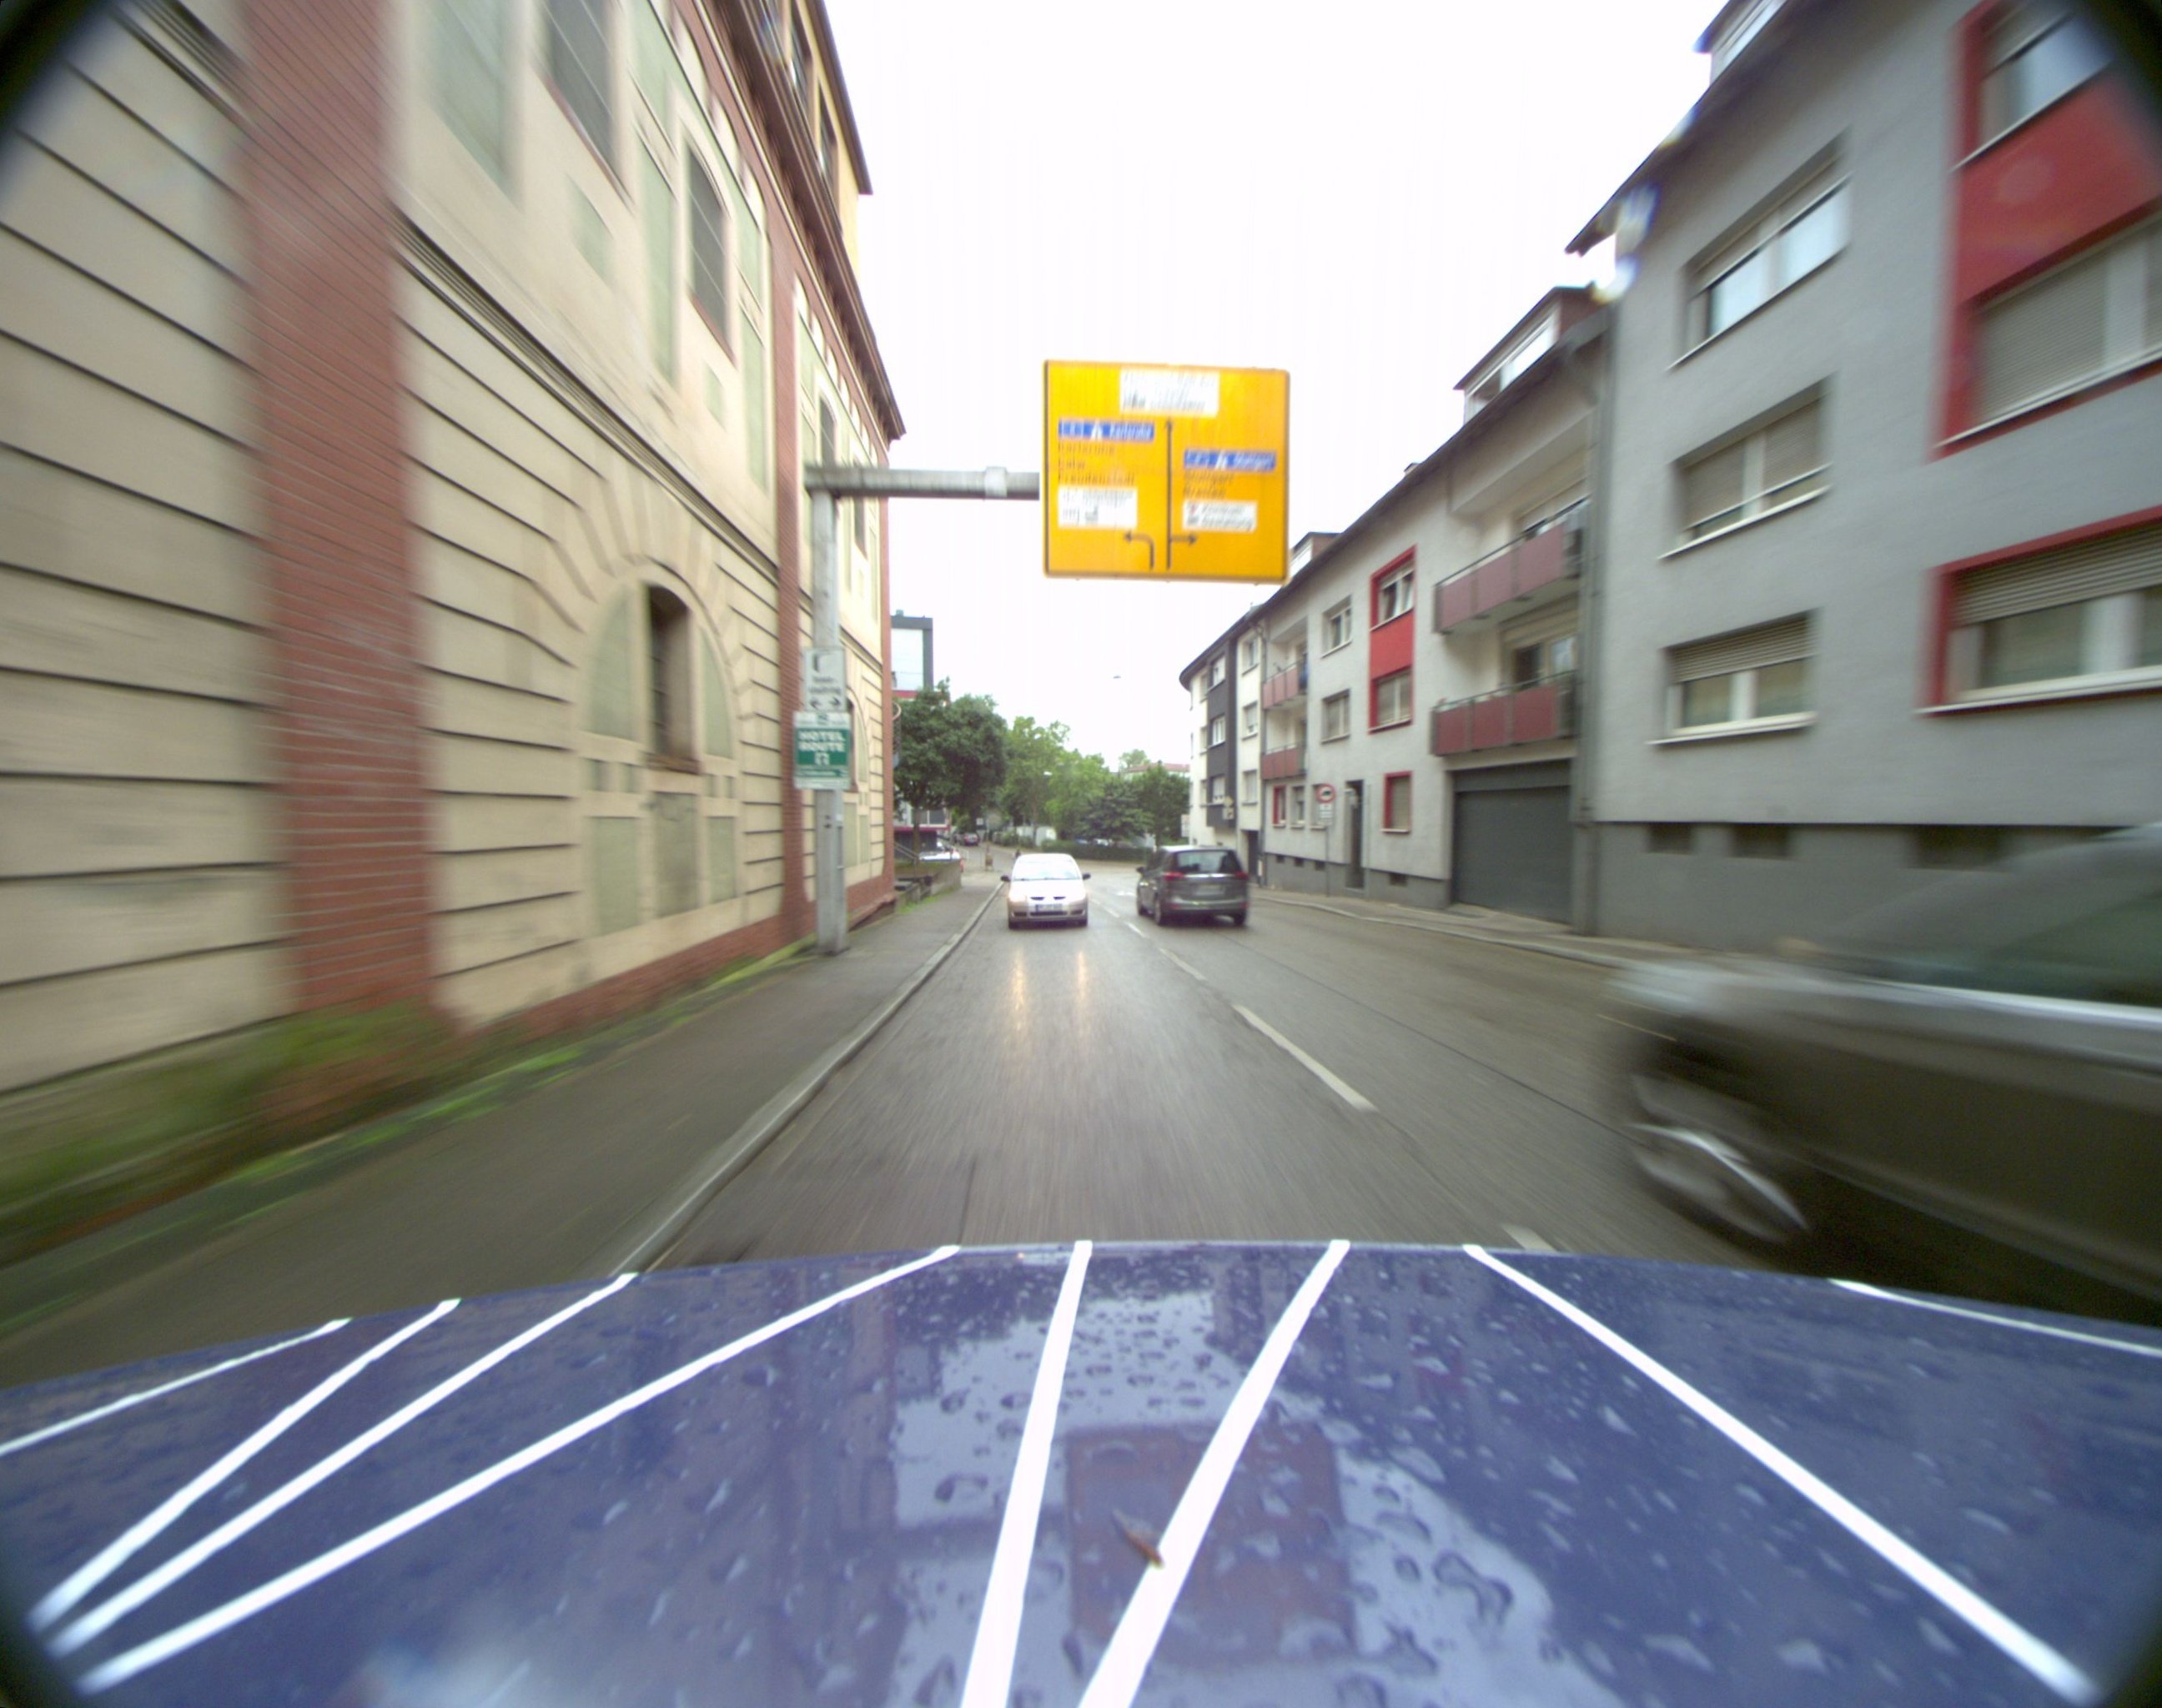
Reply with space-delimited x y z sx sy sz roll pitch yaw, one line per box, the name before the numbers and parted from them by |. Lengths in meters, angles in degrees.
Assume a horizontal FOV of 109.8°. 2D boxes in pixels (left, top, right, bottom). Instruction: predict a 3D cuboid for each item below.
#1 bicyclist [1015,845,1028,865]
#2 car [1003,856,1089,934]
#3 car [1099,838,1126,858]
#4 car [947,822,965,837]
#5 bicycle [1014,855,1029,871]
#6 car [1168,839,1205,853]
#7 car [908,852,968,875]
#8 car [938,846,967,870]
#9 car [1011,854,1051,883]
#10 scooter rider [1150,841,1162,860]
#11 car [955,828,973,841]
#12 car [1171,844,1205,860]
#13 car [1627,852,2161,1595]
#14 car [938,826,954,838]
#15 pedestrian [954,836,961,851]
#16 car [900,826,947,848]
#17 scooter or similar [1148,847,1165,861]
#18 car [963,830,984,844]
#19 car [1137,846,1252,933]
bicyclist | -4.569 0.081 58.225 0.888 1.481 0.968 0 1 2
car | -0.794 0.827 17.155 1.687 1.496 3.837 -1 0 -3
car | 3.396 -0.665 83.056 1.638 1.949 4.204 3 2 -16
car | -18.366 -3.575 111.404 1.911 2.064 3.991 -1 4 -18
bicycle | -4.573 0.675 58.257 0.888 1.180 2.133 0 1 2
car | 12.925 -1.001 92.870 4.006 1.502 1.795 2 2 -25
car | -10.372 0.679 55.062 3.996 1.524 1.872 2 2 -18
car | -10.324 0.259 60.883 1.933 1.702 4.484 0 3 -14
car | -2.692 0.772 40.333 1.688 1.418 3.836 -2 0 -9
scooter rider | 7.421 -0.382 75.079 0.782 1.812 0.803 1 5 -18
car | -16.127 -2.739 104.598 1.911 1.642 3.991 -1 4 -18
car | 12.194 -0.251 86.941 1.640 1.612 4.201 2 2 -26
car | 3.192 0.802 1.295 1.769 1.567 3.763 0 1 -1
car | -20.887 -3.458 117.618 1.911 1.642 3.991 -1 4 -18
pedestrian | -12.914 -1.129 79.369 0.704 1.559 0.620 -1 5 -16
car | -17.166 -1.812 82.890 4.893 2.200 1.880 1 4 -11
scooter or similar | 7.480 -0.020 75.141 1.410 1.316 0.803 1 5 -18
car | -13.947 -2.207 98.456 1.911 1.642 3.991 -1 4 -18
car | 2.302 0.650 16.417 1.769 1.648 3.986 0 1 -2
